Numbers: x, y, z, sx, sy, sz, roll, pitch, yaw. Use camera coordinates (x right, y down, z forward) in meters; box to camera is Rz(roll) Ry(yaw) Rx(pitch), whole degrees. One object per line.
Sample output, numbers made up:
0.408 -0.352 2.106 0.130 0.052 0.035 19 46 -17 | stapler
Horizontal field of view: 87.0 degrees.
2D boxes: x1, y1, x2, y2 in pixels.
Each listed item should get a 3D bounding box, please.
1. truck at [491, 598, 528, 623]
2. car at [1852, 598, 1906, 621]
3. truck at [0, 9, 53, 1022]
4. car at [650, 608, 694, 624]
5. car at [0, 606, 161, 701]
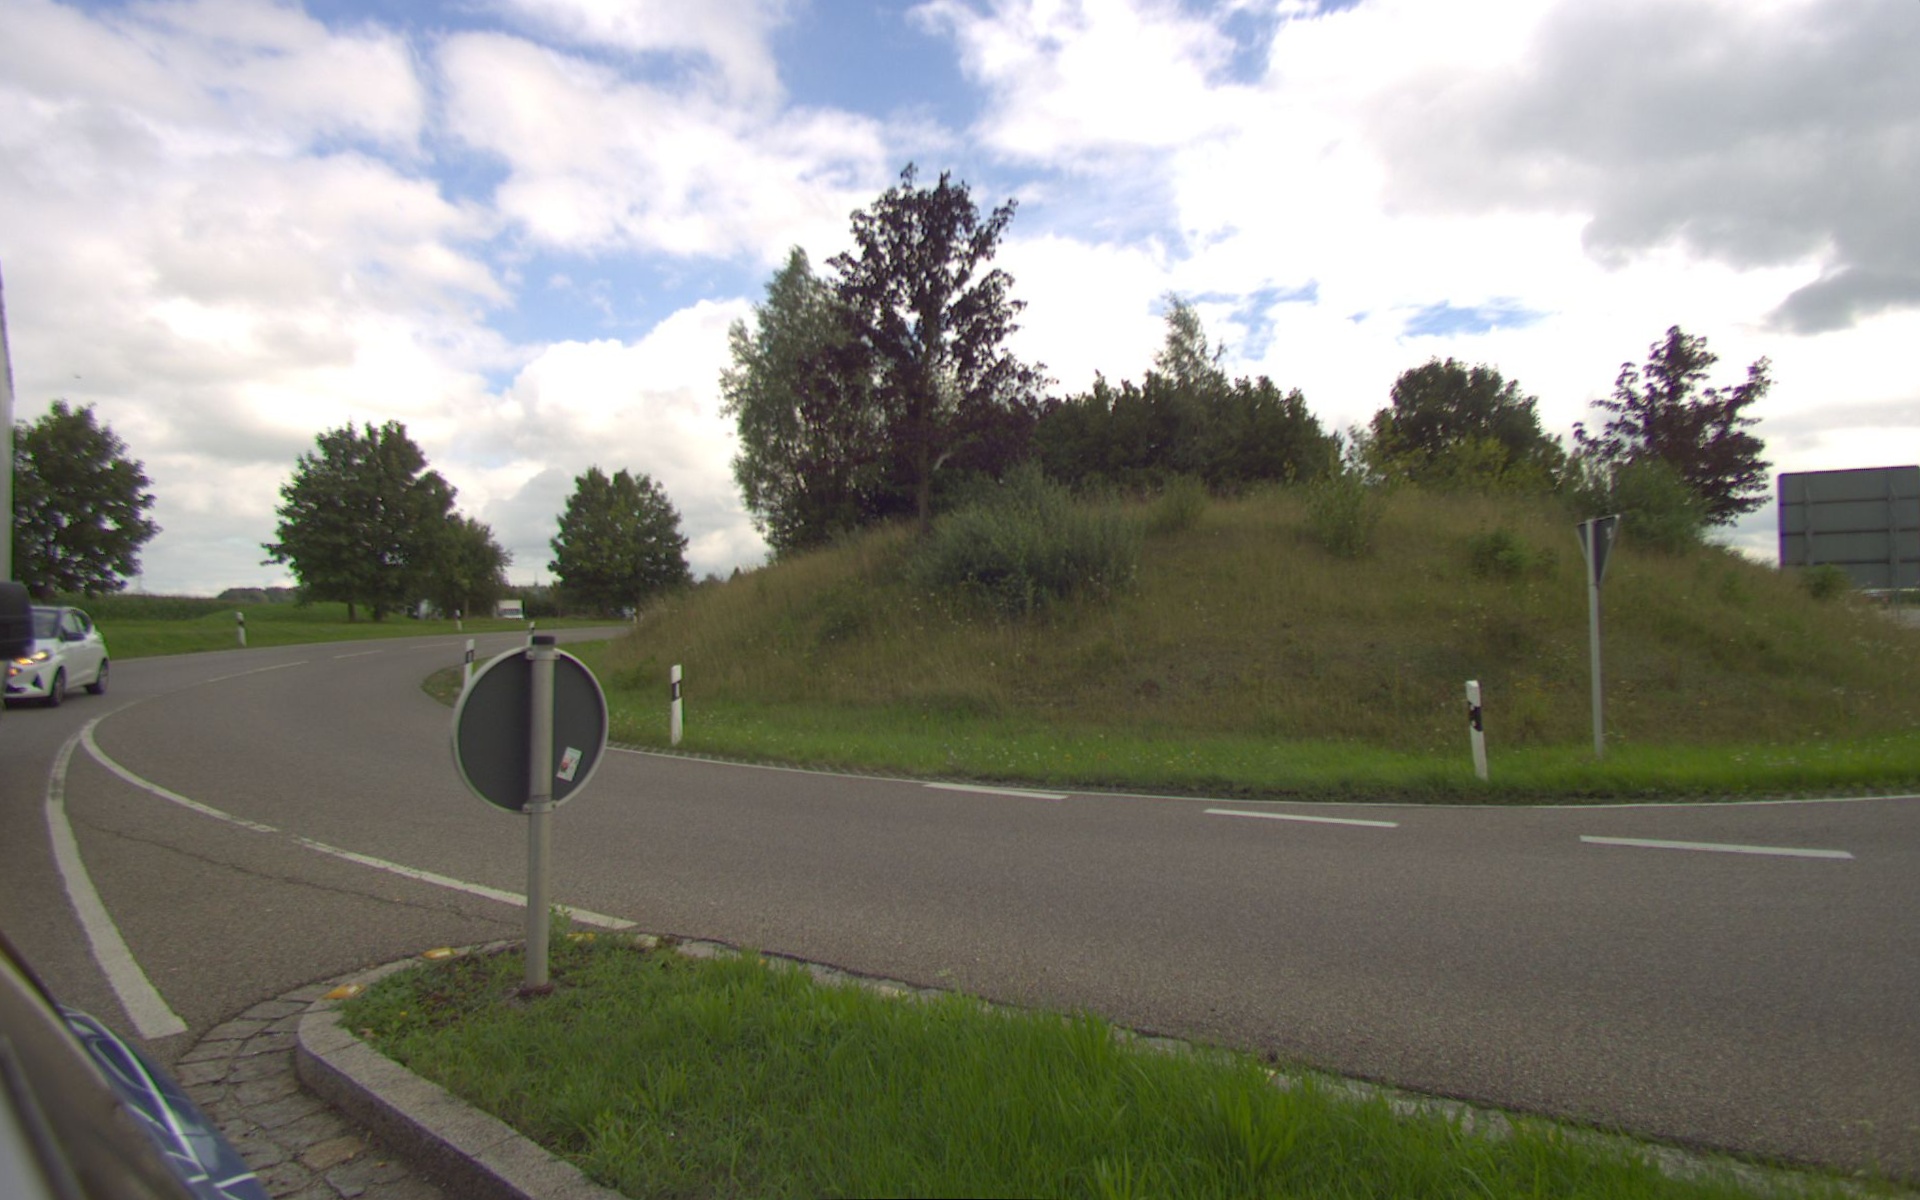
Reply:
-46.175 1.087 103.623 2.254 2.439 6.398 0 -1 -35 | truck
71.521 0.728 78.856 1.837 1.702 3.969 -1 -1 23 | car
-7.500 -0.341 6.189 2.795 3.792 8.811 1 -1 -42 | truck
-31.033 1.730 109.151 4.328 1.597 2.007 0 -1 -24 | car
-15.746 0.888 17.917 1.721 1.477 4.013 -1 -1 -27 | car
